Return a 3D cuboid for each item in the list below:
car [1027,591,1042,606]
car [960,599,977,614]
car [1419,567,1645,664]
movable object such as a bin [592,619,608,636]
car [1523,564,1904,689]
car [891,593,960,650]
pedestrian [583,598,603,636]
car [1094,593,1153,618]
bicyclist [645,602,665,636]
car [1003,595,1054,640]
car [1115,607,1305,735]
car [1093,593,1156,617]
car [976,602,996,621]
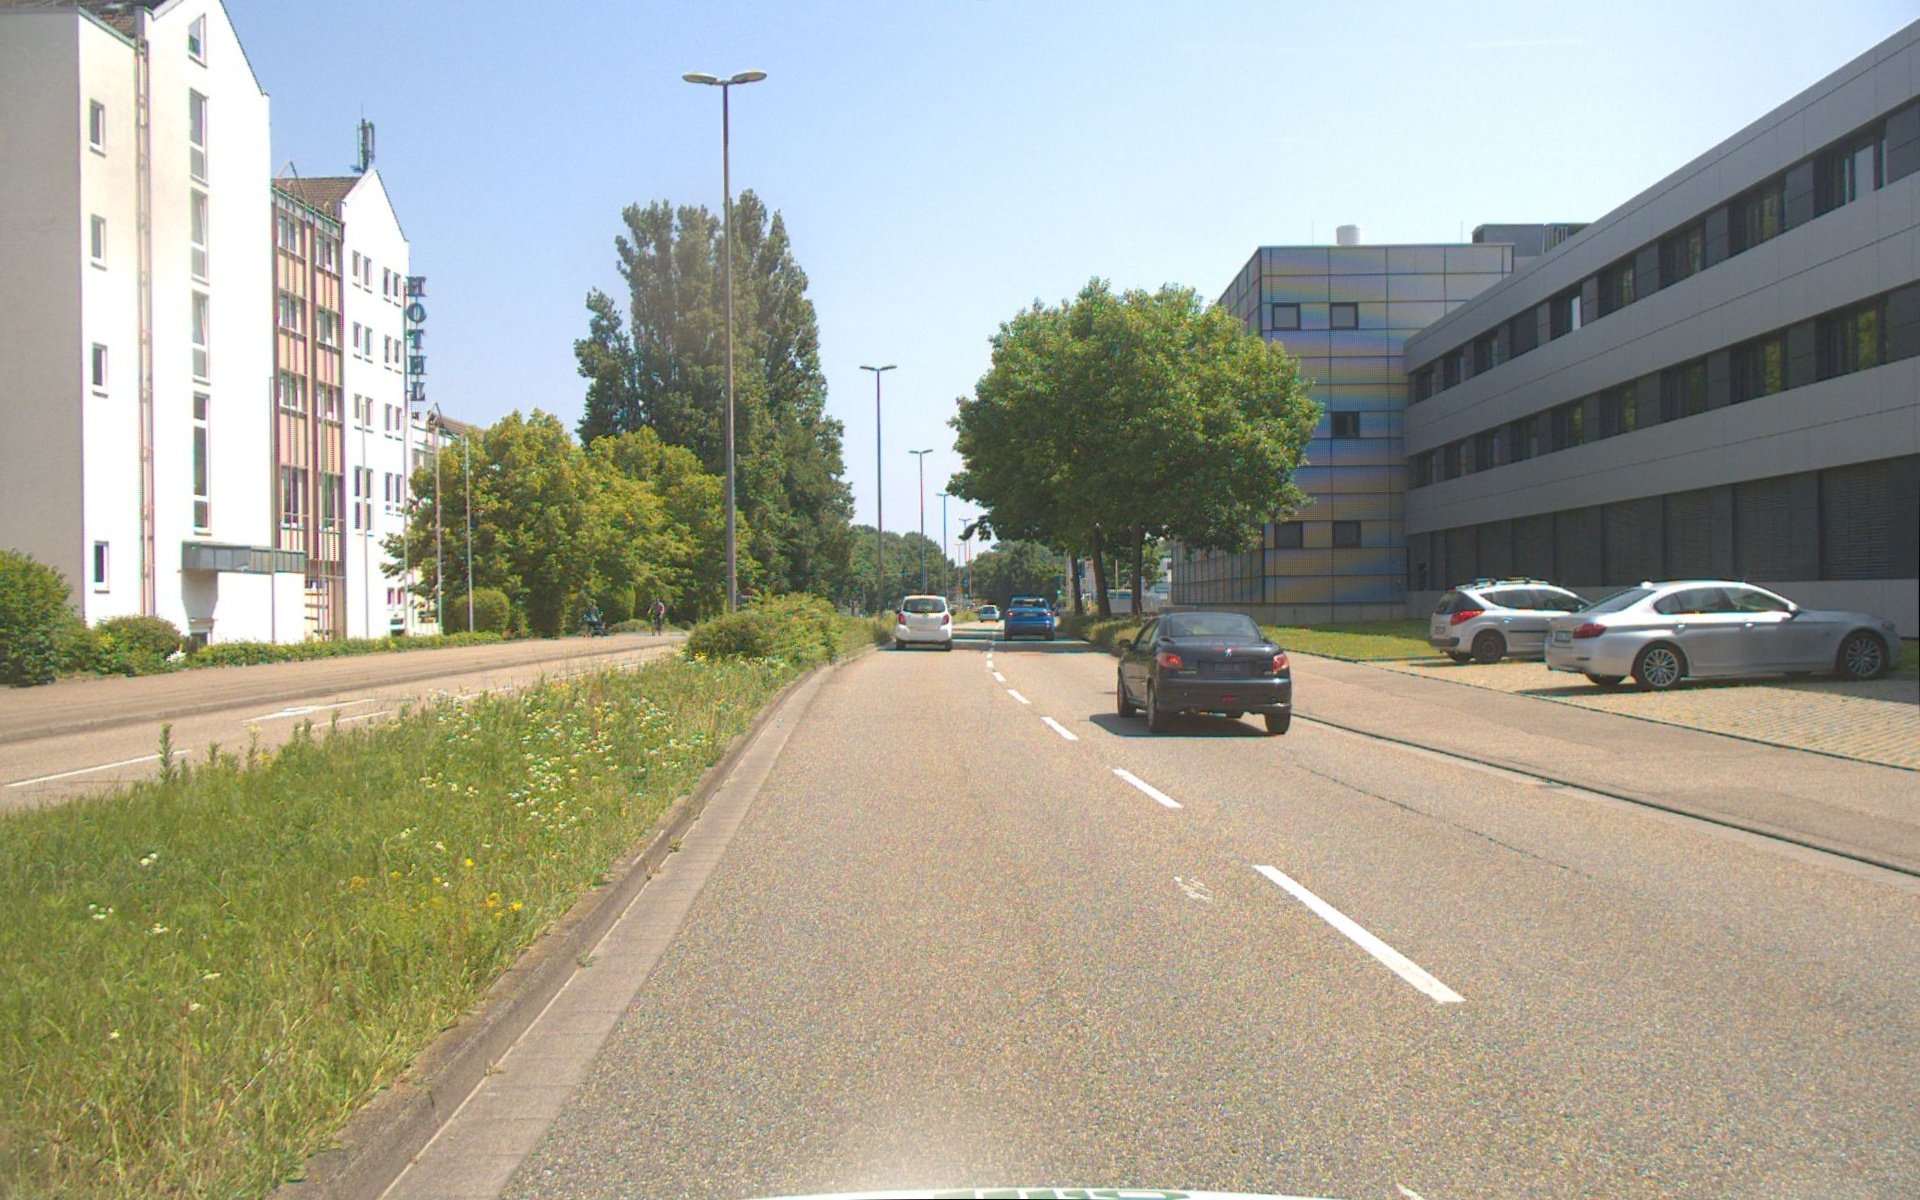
[{"bbox_3d":[10.454,-0.234,232.321,1.734,2.049,3.989,-1,0,-2],"label":"car"},{"bbox_3d":[0.961,0.745,193.104,1.783,1.691,3.998,-1,0,-3],"label":"car"},{"bbox_3d":[11.152,0.299,32.405,3.737,1.619,1.731,-3,0,-3],"label":"car"},{"bbox_3d":[-14.987,1.138,68.874,0.419,0.718,0.652,-1,-1,10],"label":"movable object such as a bin"},{"bbox_3d":[10.717,0.358,23.757,4.522,1.414,1.999,-4,0,-3],"label":"car"},{"bbox_3d":[-0.955,0.594,47.851,1.712,1.546,3.747,1,0,3],"label":"car"},{"bbox_3d":[-15.354,0.729,69.222,0.620,1.572,0.727,-1,-1,1],"label":"pedestrian"},{"bbox_3d":[11.567,0.384,117.147,3.907,1.647,1.999,-1,0,-2],"label":"car"},{"bbox_3d":[-13.837,0.865,75.053,0.703,1.543,1.026,-1,-1,-2],"label":"bicyclist"},{"bbox_3d":[2.538,0.619,61.220,1.790,1.608,3.606,-1,0,2],"label":"car"},{"bbox_3d":[2.949,0.800,20.191,1.595,1.388,3.603,0,0,-3],"label":"car"},{"bbox_3d":[12.073,0.388,121.287,4.406,1.610,2.000,-2,-1,0],"label":"car"},{"bbox_3d":[2.380,1.070,153.379,1.782,1.691,4.000,-1,0,0],"label":"car"}]
